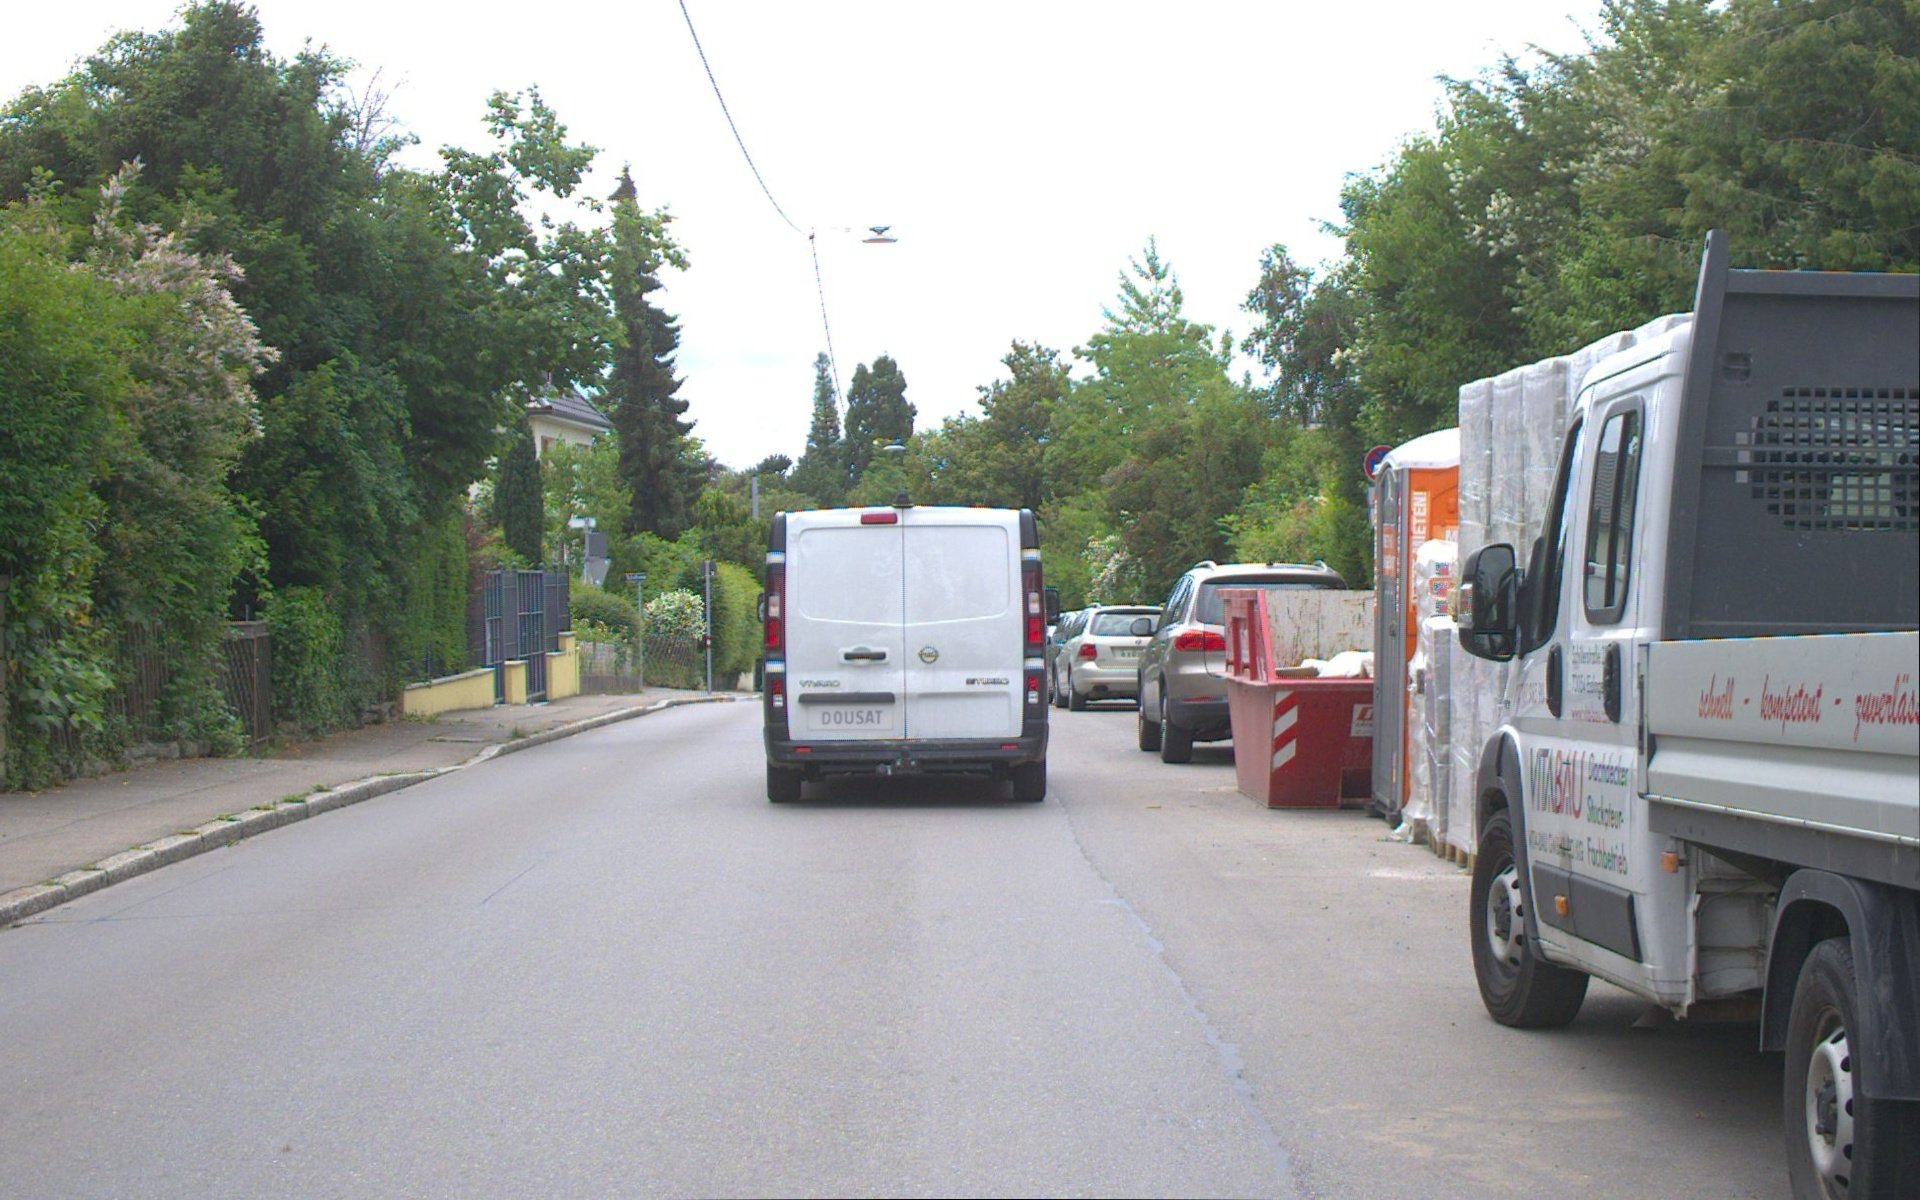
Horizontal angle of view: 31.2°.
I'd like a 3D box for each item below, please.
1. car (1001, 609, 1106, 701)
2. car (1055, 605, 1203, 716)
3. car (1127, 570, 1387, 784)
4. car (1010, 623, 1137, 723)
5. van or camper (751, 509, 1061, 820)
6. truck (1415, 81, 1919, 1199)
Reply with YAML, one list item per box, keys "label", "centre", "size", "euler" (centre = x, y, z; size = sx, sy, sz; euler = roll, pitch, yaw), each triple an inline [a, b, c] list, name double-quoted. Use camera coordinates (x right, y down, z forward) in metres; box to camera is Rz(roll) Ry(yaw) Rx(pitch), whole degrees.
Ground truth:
- label: "car"
  centre: [1.739, 1.004, 65.073]
  size: [1.744, 1.624, 4.259]
  euler: [-1, 0, -1]
- label: "car"
  centre: [2.326, 0.816, 48.297]
  size: [1.744, 1.442, 4.259]
  euler: [-1, 0, -1]
- label: "car"
  centre: [2.479, 0.609, 29.595]
  size: [1.744, 1.669, 4.185]
  euler: [-1, 0, -1]
- label: "car"
  centre: [1.771, 1.127, 54.733]
  size: [1.744, 1.442, 4.259]
  euler: [-1, 0, -1]
- label: "van or camper"
  centre: [-0.390, 0.427, 24.031]
  size: [1.939, 1.947, 4.765]
  euler: [0, -1, -1]
- label: "truck"
  centre: [2.803, 0.266, 8.775]
  size: [2.187, 2.463, 7.431]
  euler: [0, 1, -1]
